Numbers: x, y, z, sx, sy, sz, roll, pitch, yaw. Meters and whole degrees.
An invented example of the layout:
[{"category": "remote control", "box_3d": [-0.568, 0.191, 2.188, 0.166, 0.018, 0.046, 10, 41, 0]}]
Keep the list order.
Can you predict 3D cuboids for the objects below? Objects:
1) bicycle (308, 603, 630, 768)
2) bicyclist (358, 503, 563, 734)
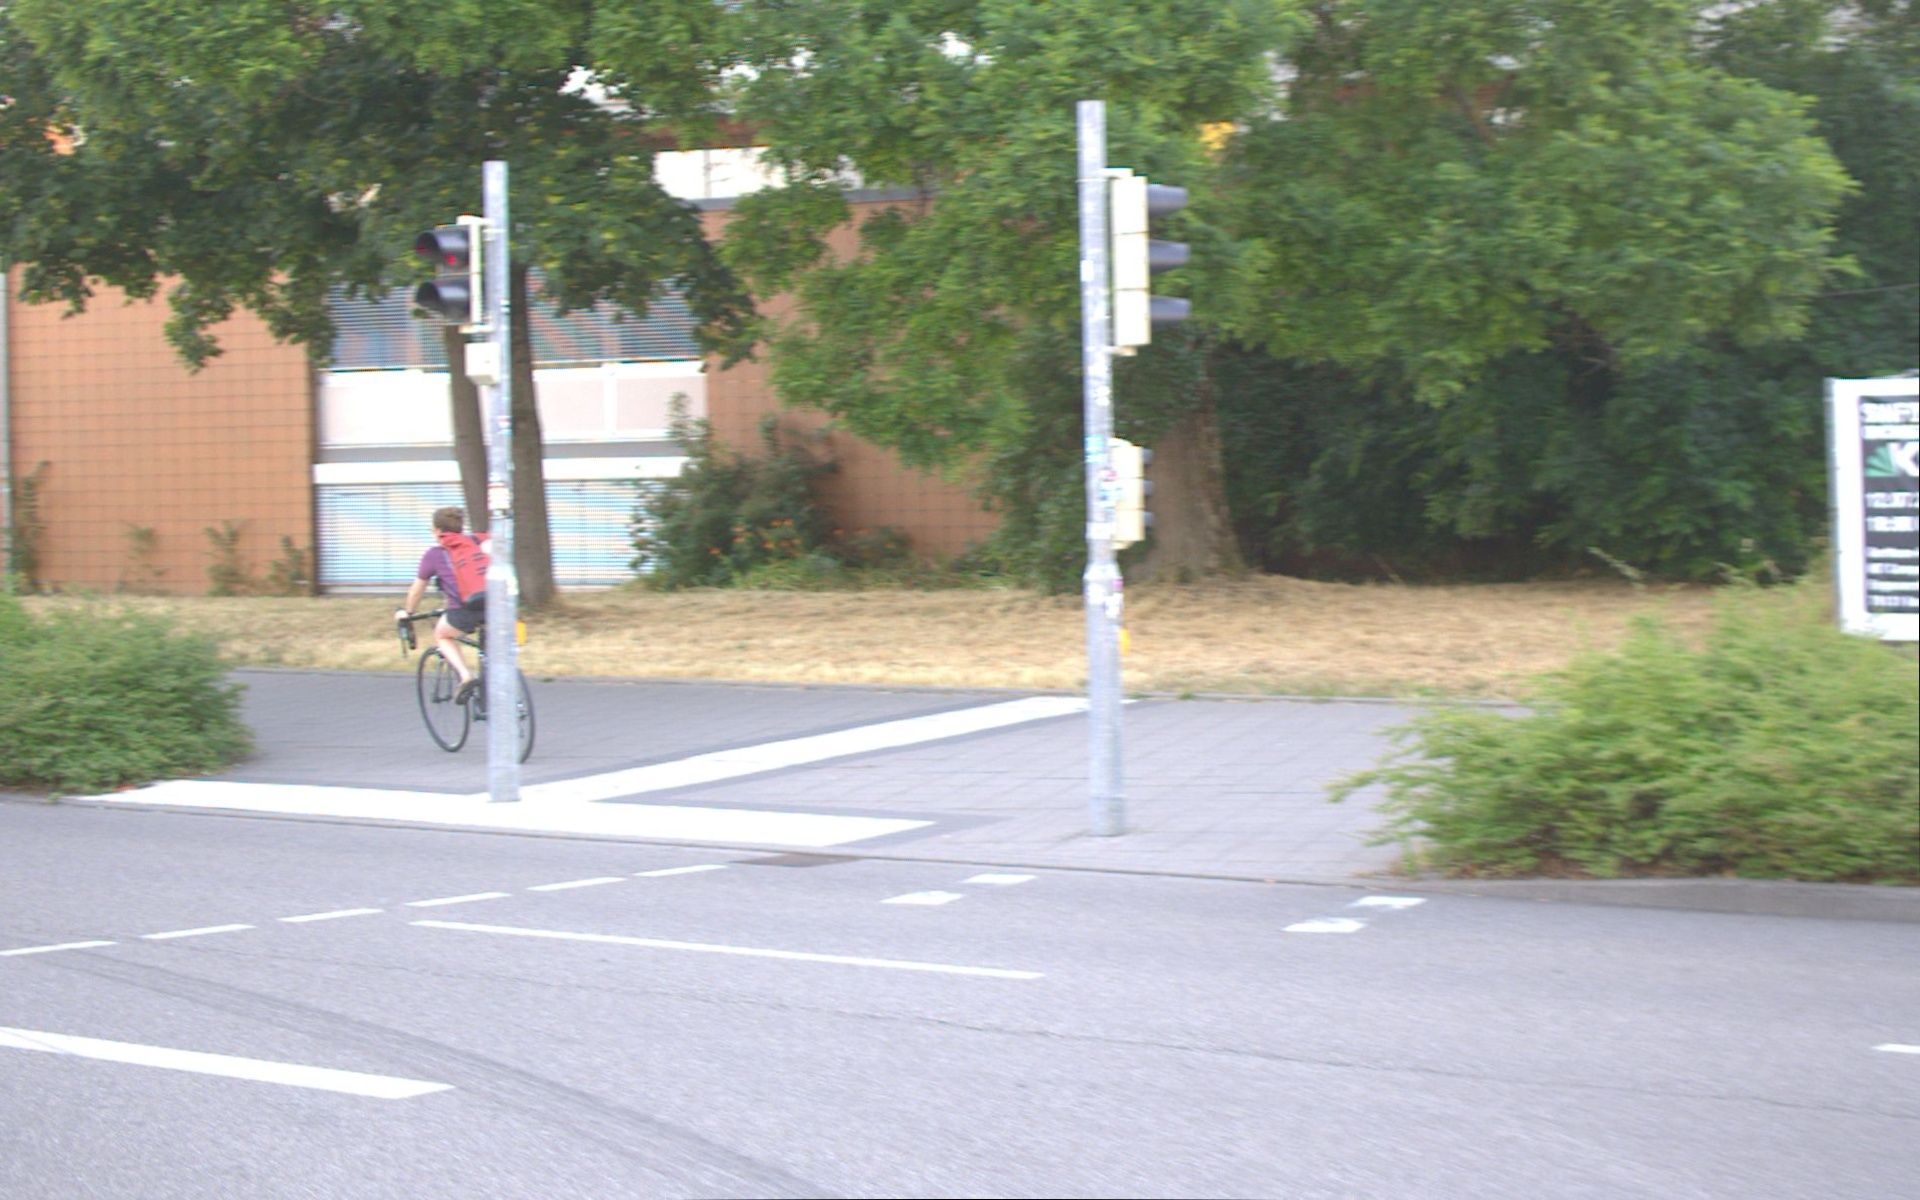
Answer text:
[{"category": "bicycle", "box_3d": [-3.042, 0.508, 21.133, 2.248, 0.949, 0.720, -1, 1, 44]}, {"category": "bicyclist", "box_3d": [-3.078, 0.109, 21.155, 1.075, 1.380, 0.720, -1, 1, 44]}]
